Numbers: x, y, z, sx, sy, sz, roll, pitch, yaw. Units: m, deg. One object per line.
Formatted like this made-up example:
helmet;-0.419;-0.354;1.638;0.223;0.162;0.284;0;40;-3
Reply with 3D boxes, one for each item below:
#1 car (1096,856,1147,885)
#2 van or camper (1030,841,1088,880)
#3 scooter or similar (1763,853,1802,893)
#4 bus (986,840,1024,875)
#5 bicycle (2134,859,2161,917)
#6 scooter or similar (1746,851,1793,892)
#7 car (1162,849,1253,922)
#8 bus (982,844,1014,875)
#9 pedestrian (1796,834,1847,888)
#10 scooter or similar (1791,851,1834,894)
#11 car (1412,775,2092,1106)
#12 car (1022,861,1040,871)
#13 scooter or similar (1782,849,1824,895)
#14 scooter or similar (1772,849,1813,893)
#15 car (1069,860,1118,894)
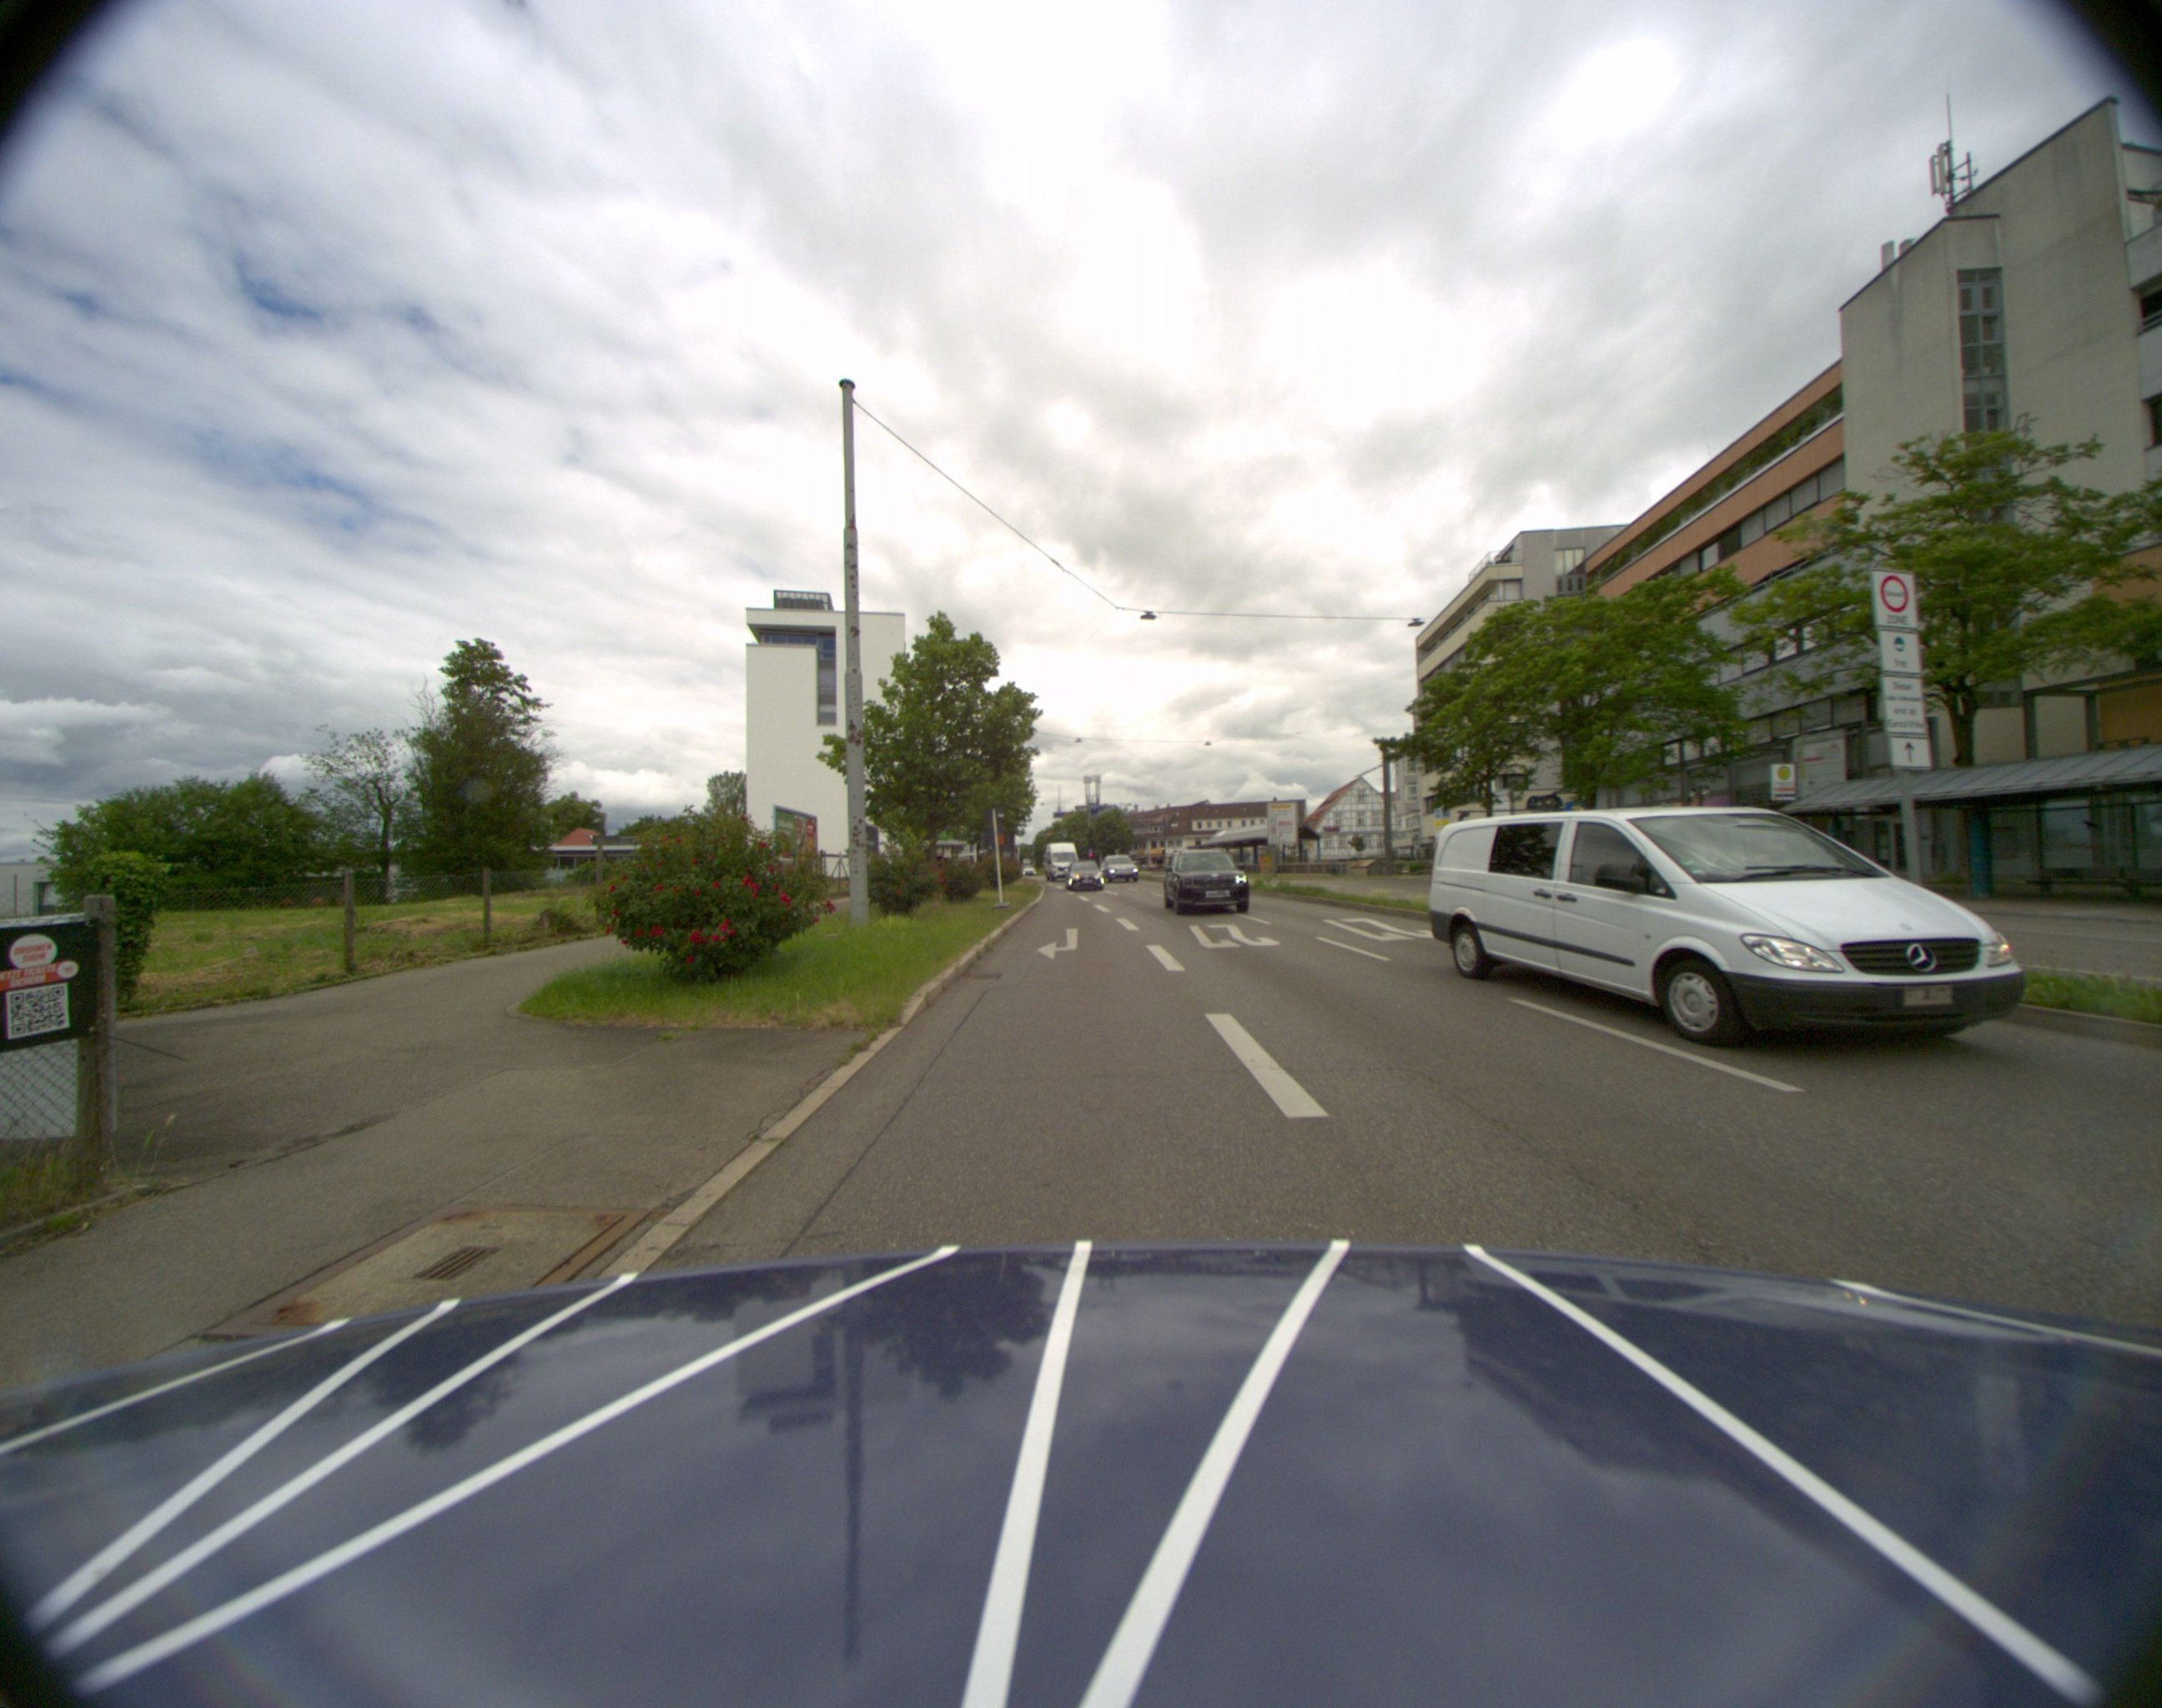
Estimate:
car;2.464;1.001;47.603;2.001;1.640;4.389;-3;0;-13
van or camper;-1.703;0.523;55.250;2.283;2.690;6.985;0;-1;-18
scooter or similar;22.627;0.607;24.519;1.131;1.287;0.268;-1;0;-8
bus;-7.582;0.462;74.778;2.722;3.144;9.120;3;-2;-11
bicycle;23.467;0.682;16.059;2.072;1.147;0.711;-4;1;-16
scooter or similar;22.528;0.569;24.869;1.325;1.262;0.339;-3;1;-7
car;3.454;0.777;21.608;1.927;1.741;4.679;-3;0;3
bus;-9.249;0.655;83.645;2.722;3.089;8.863;3;-2;-10
pedestrian;25.268;0.233;25.942;0.735;1.771;0.997;-1;0;-4
scooter or similar;22.824;0.585;23.695;1.205;1.312;0.259;-1;0;-7
car;5.384;0.557;7.355;1.879;2.002;5.075;-3;0;-3
car;-6.829;1.635;103.722;2.000;1.368;3.996;-1;0;-11
scooter or similar;22.790;0.556;23.992;1.205;1.415;0.259;-1;0;-7
scooter or similar;22.702;0.547;24.252;1.205;1.377;0.222;-1;0;-7
car;0.668;1.104;36.902;1.862;1.516;4.003;-1;-1;8
